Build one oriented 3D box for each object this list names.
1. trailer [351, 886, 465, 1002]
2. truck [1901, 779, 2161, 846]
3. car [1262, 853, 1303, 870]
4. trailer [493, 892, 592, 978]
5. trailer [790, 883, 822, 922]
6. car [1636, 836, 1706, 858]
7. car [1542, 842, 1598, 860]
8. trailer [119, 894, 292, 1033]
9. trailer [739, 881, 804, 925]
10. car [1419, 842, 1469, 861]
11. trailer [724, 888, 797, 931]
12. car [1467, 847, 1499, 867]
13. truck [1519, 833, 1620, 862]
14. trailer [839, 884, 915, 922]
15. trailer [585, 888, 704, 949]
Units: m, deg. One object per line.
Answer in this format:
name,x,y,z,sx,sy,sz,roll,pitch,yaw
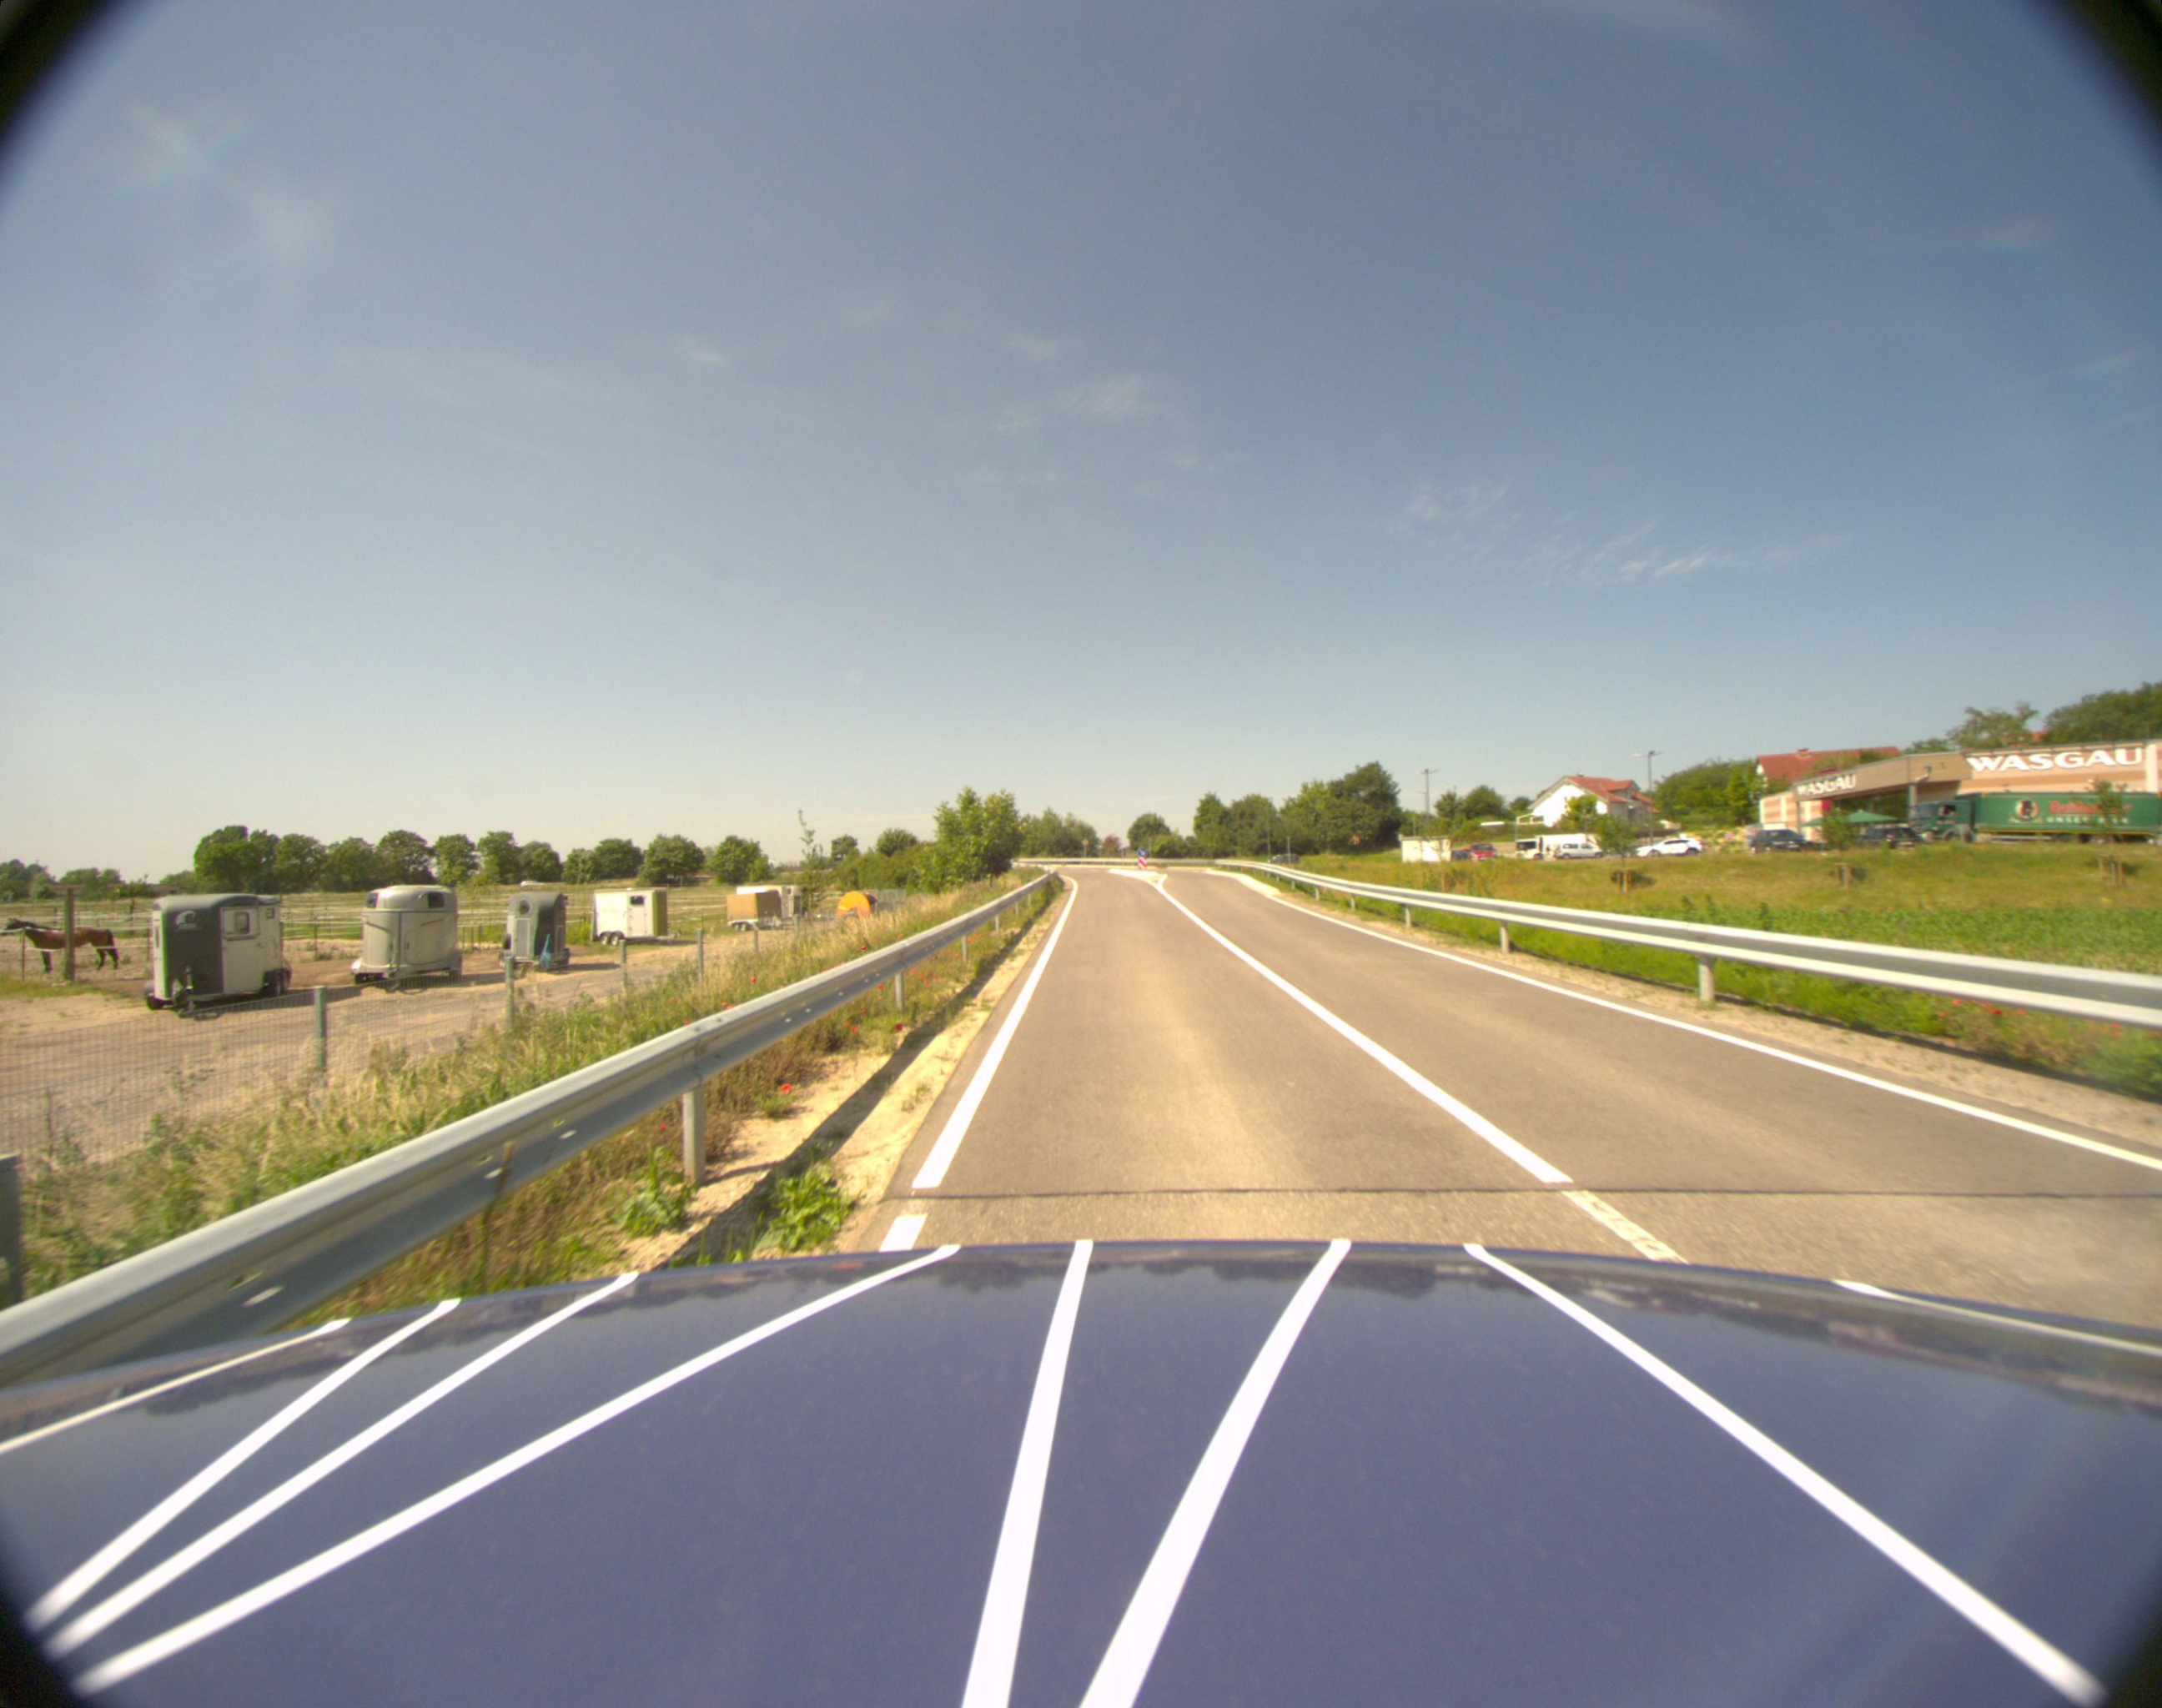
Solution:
trailer,-19.230,2.375,21.752,2.239,2.847,5.031,0,-2,-42
truck,57.570,-2.421,46.277,9.917,3.457,2.883,-2,1,29
car,22.623,0.824,85.277,4.187,1.694,2.003,-2,1,22
trailer,-17.985,2.580,25.292,4.540,2.612,1.830,-3,-4,44
trailer,-20.925,3.686,57.747,2.002,2.787,3.373,0,-3,-24
car,50.312,-0.568,64.881,4.323,1.694,2.003,-2,1,24
car,48.229,-0.259,74.974,4.323,1.588,2.003,-2,1,22
trailer,-20.882,2.430,18.365,2.180,2.655,4.468,0,0,-42
trailer,-20.836,3.324,51.261,3.413,2.788,2.168,-2,0,21
car,35.560,-0.243,74.490,4.323,1.694,2.003,-2,1,26
trailer,-19.865,3.451,47.090,4.083,2.376,2.010,-4,-1,30
car,28.899,0.216,54.727,1.621,1.281,3.679,-2,0,22
truck,62.712,-0.818,97.774,10.705,3.173,2.448,-2,1,9
trailer,-15.442,3.669,57.917,2.576,2.366,6.059,-2,0,19
trailer,-20.758,3.013,36.153,5.176,2.672,2.213,-2,-1,23
